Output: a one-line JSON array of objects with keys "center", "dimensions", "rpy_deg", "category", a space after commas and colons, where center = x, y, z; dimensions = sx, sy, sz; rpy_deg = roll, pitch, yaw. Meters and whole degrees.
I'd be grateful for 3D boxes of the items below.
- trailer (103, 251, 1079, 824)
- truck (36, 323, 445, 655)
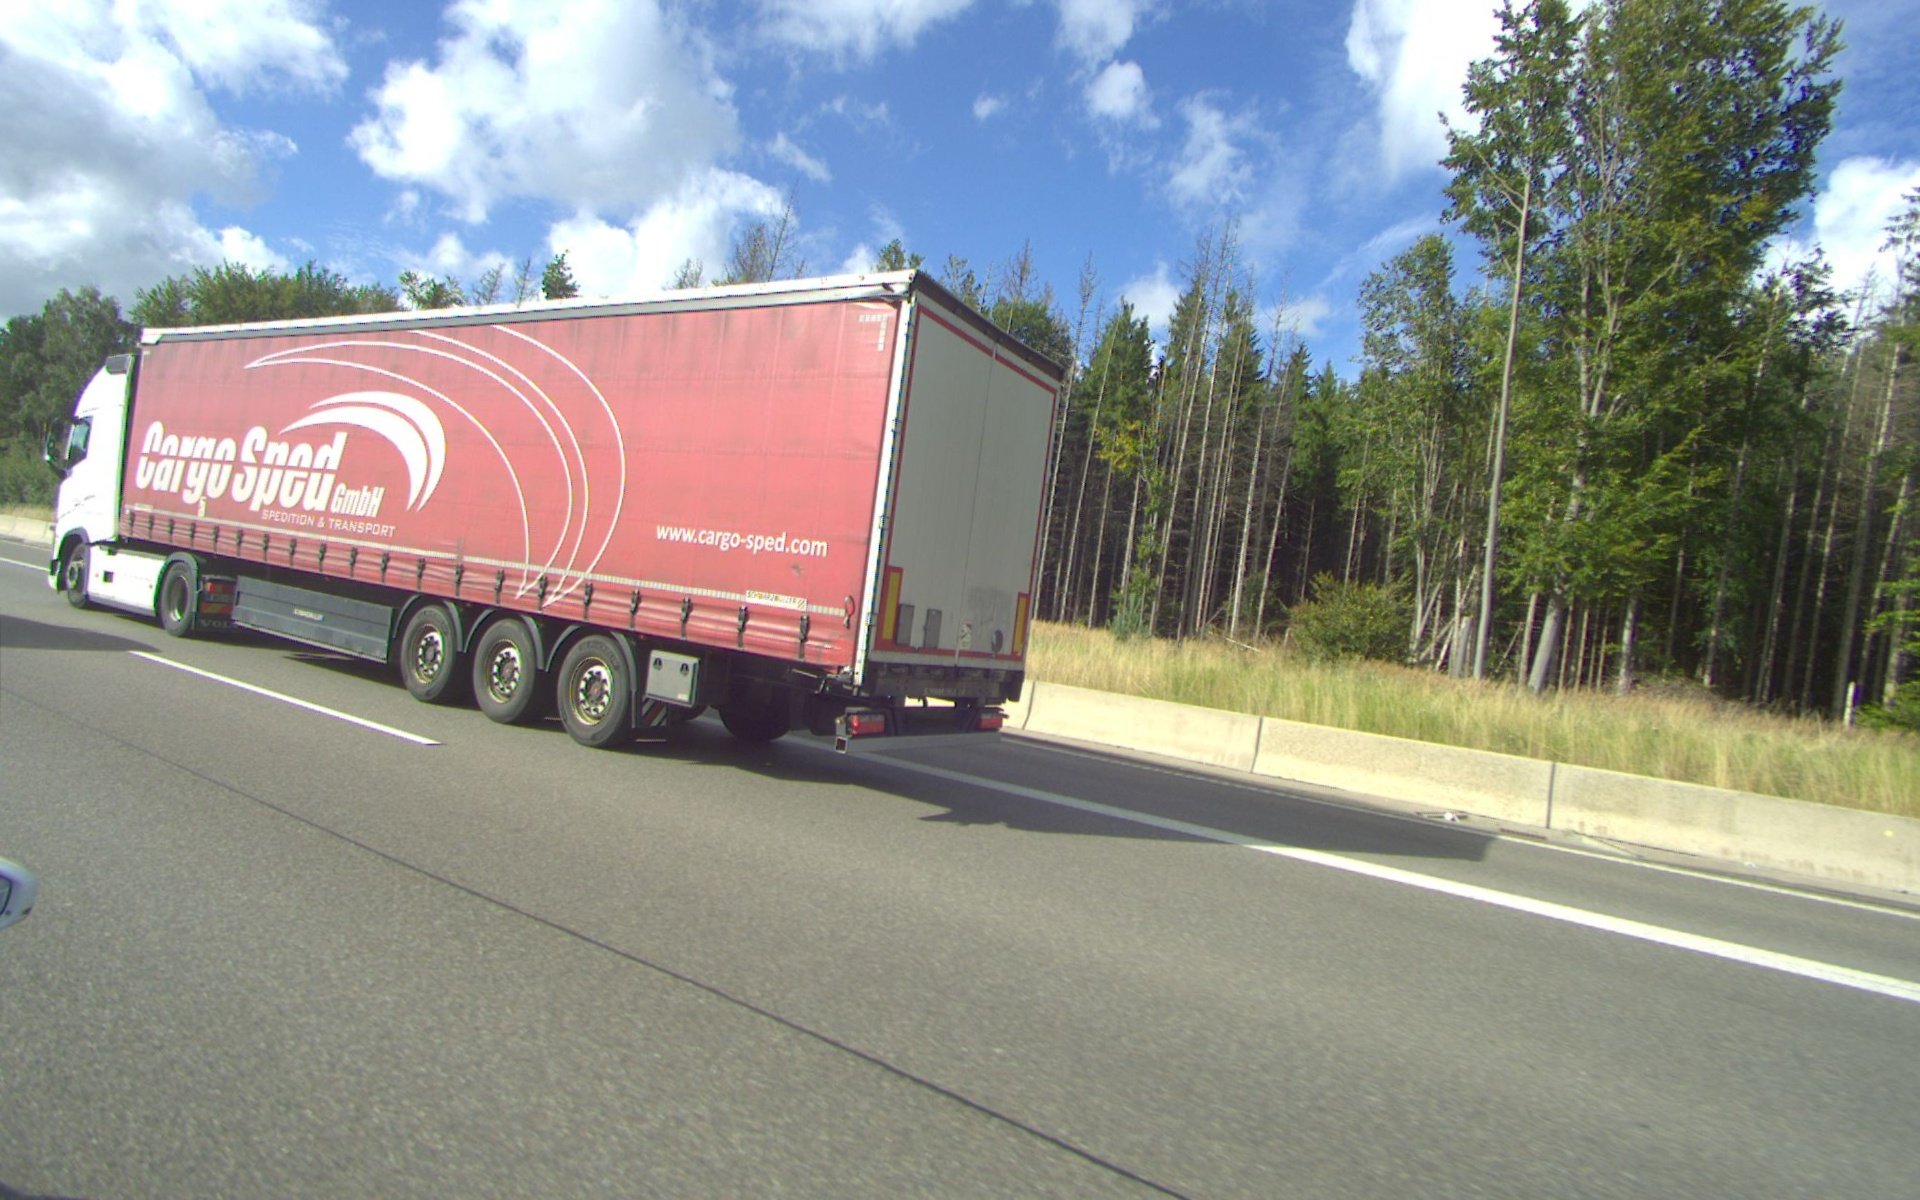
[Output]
[{"center": [-5.516, -0.990, 11.885], "dimensions": [13.486, 4.093, 2.778], "rpy_deg": [7, -1, 32], "category": "trailer"}, {"center": [-11.062, -1.616, 15.385], "dimensions": [5.678, 4.093, 2.778], "rpy_deg": [7, -1, 32], "category": "truck"}]
